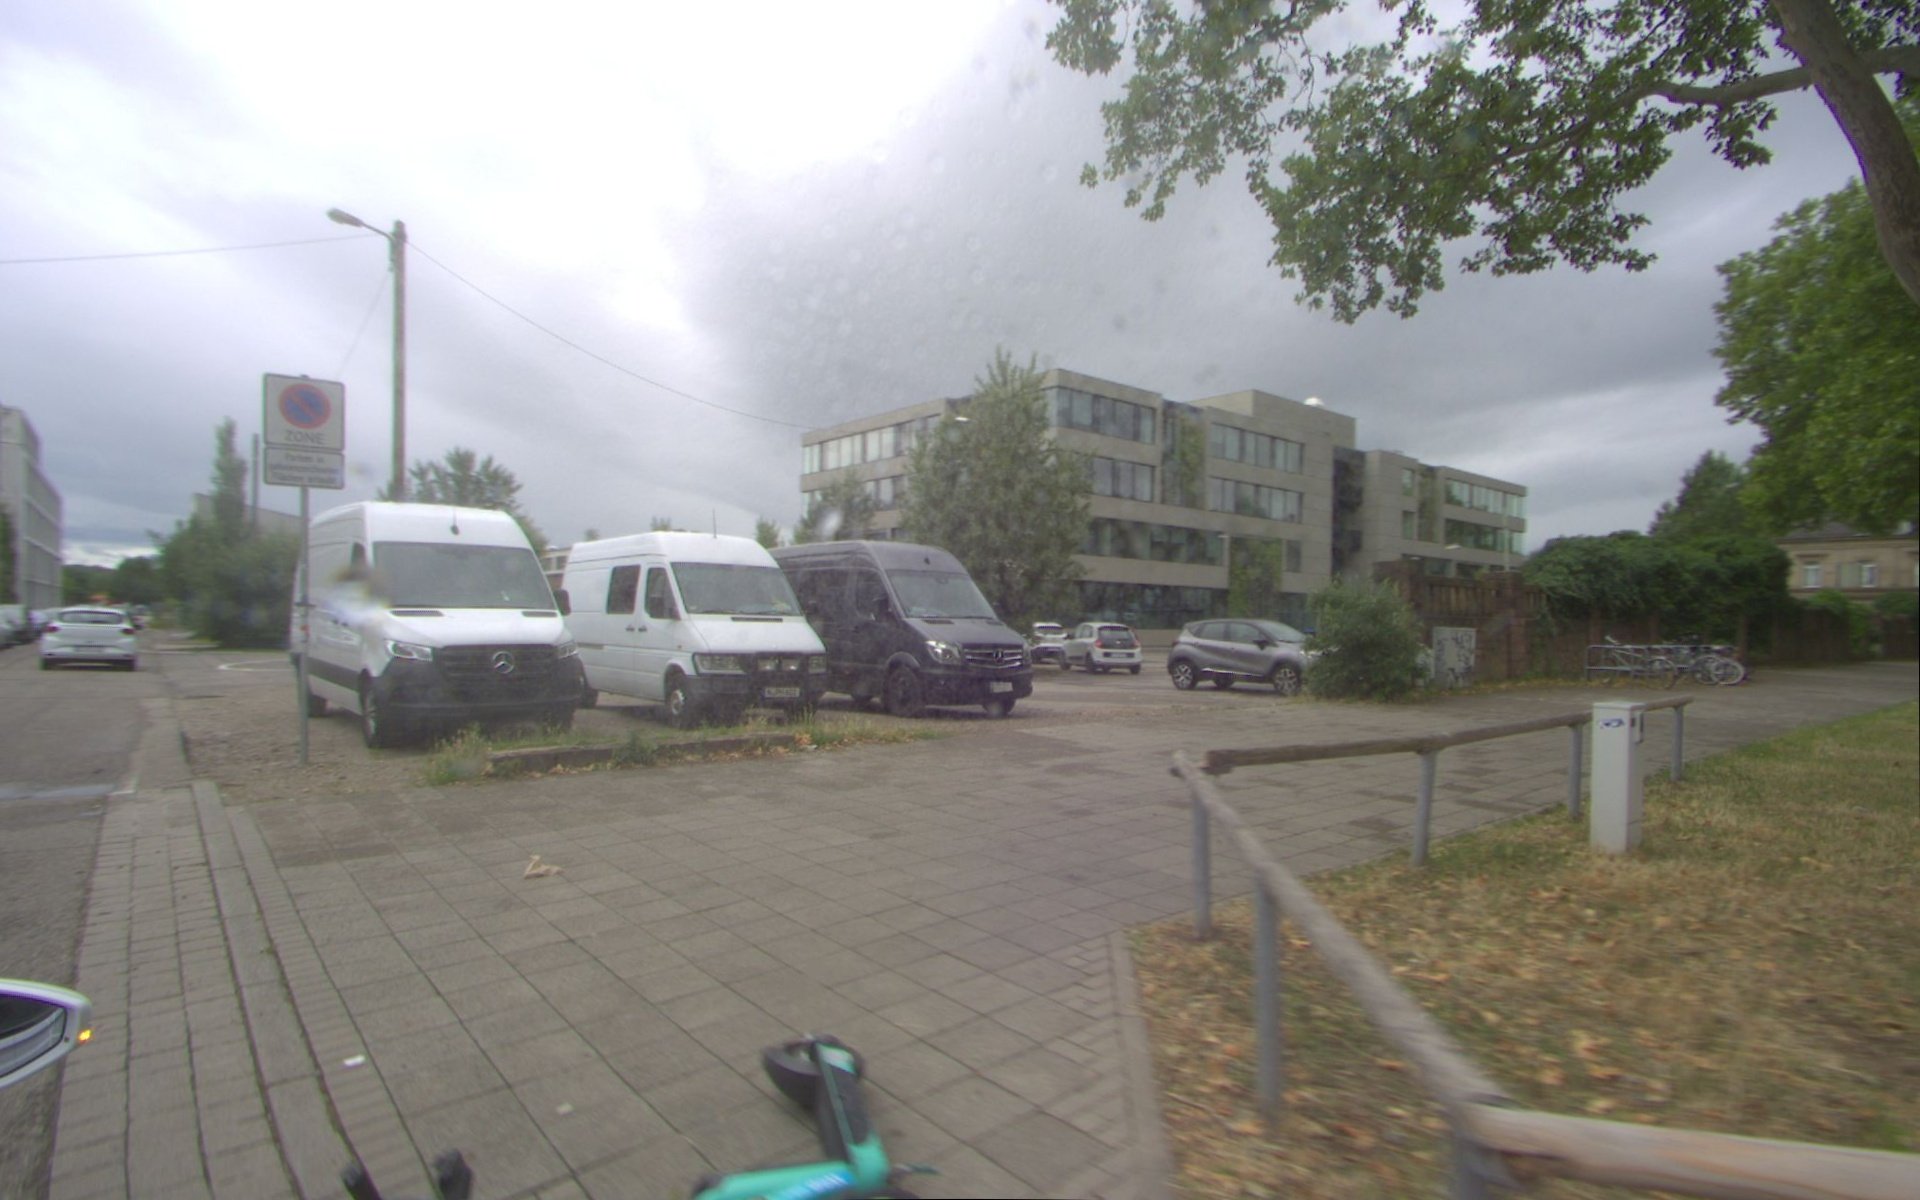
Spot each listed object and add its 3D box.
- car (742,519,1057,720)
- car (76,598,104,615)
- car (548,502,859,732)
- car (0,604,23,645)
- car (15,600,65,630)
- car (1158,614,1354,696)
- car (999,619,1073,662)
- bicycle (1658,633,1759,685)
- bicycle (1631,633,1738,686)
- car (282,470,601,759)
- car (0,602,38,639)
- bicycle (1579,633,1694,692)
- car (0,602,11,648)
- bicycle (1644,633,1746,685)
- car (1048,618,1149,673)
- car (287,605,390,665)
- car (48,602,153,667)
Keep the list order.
[{"bbox_3d":[-1.204,0.375,15.733,2.145,2.554,5.763,2,-3,-37],"label":"car"},{"bbox_3d":[-78.961,0.602,90.909,1.872,1.472,3.963,1,0,-42],"label":"car"},{"bbox_3d":[-3.849,0.296,14.081,2.017,2.567,5.758,1,-2,-39],"label":"car"},{"bbox_3d":[-37.211,0.901,38.300,1.872,1.472,3.963,1,0,-42],"label":"car"},{"bbox_3d":[-48.038,0.793,52.335,1.872,1.472,3.963,1,0,-42],"label":"car"},{"bbox_3d":[6.341,1.125,21.695,1.732,1.600,3.745,1,-1,-41],"label":"car"},{"bbox_3d":[3.002,1.618,40.509,1.963,1.572,3.996,1,0,-12],"label":"car"},{"bbox_3d":[18.416,1.430,24.667,0.544,1.119,1.878,1,2,-40],"label":"bicycle"},{"bbox_3d":[17.362,1.398,24.044,0.544,1.109,1.962,1,2,-40],"label":"bicycle"},{"bbox_3d":[-6.435,0.129,11.931,2.077,2.589,5.989,1,0,-40],"label":"car"},{"bbox_3d":[-41.057,0.860,43.172,1.872,1.472,3.963,1,0,-42],"label":"car"},{"bbox_3d":[14.455,1.313,21.442,0.544,1.106,1.910,1,2,-40],"label":"bicycle"},{"bbox_3d":[-33.618,0.807,34.031,1.872,1.472,3.963,1,0,-42],"label":"car"},{"bbox_3d":[17.883,1.404,24.403,0.544,1.112,1.889,1,2,-40],"label":"bicycle"},{"bbox_3d":[4.321,1.406,31.863,1.963,1.572,3.996,1,0,-12],"label":"car"},{"bbox_3d":[-17.281,0.923,27.781,1.871,1.472,3.965,1,0,-40],"label":"car"},{"bbox_3d":[-21.568,0.809,25.206,1.871,1.472,3.965,1,0,-40],"label":"car"}]
